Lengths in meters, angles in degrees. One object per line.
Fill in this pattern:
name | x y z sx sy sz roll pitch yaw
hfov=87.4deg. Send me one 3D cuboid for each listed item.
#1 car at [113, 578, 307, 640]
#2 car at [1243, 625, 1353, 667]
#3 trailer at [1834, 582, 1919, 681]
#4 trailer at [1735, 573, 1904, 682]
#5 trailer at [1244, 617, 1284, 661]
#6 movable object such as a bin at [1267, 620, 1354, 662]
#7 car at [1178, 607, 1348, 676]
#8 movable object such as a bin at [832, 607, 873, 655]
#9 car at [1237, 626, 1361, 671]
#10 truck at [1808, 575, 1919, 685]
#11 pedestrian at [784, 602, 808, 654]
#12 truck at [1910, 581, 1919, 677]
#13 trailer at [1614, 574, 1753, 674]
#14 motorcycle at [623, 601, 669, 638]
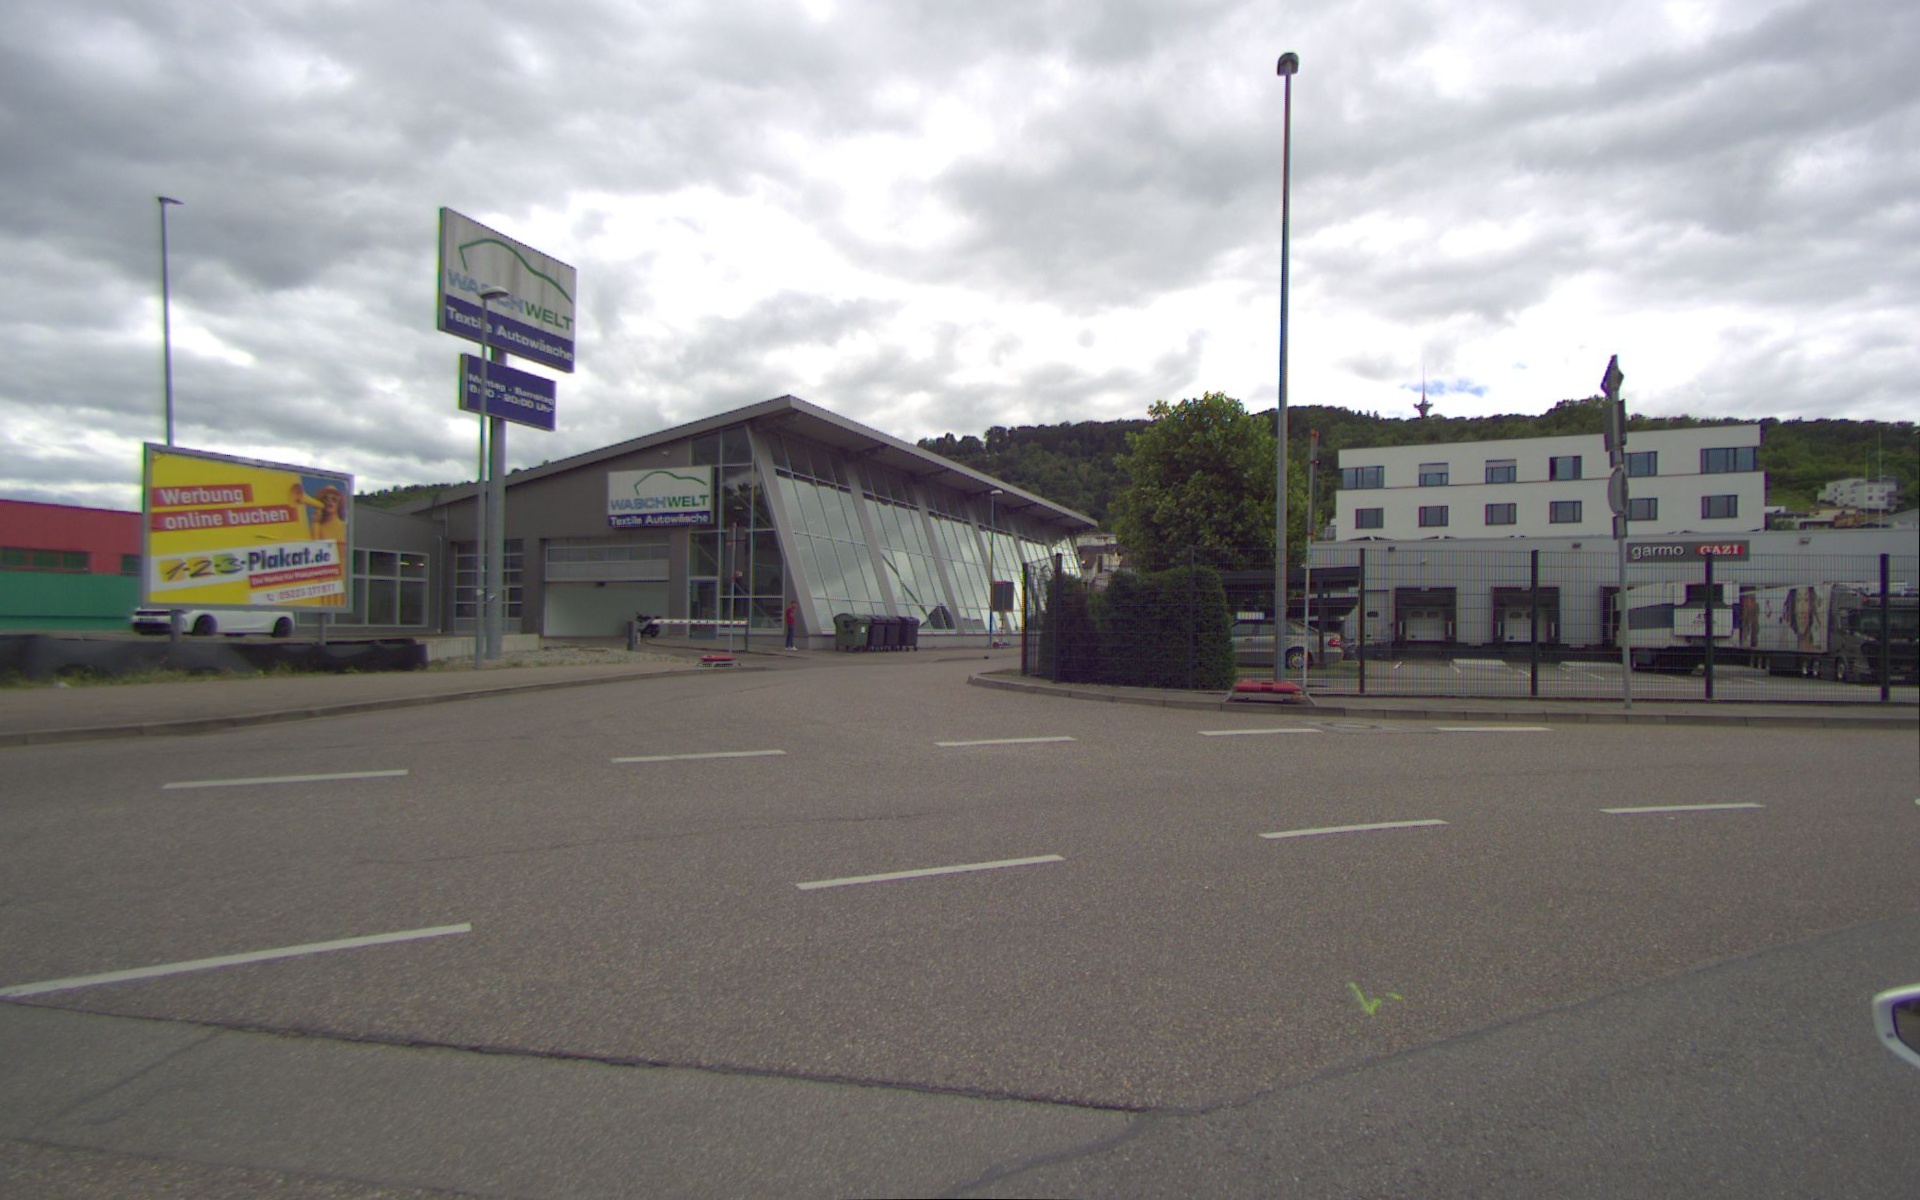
car | -20.350 0.290 27.493 1.959 1.555 4.003 1 -2 8
car | 13.714 1.856 40.875 4.163 1.579 1.968 0 -2 19
trailer | 42.370 1.455 44.189 2.739 4.131 10.991 0 -2 24
trailer | 38.816 1.338 45.925 2.739 4.357 11.177 0 -2 24
trailer | 27.295 3.467 90.017 3.018 3.809 4.933 1 -1 22
movable object such as a bin | 19.630 2.273 56.343 4.509 2.255 2.082 0 -2 19
car | 8.038 1.086 26.716 4.163 1.692 2.075 0 -2 19
movable object such as a bin | -4.057 1.172 37.958 1.124 1.780 1.058 0 -2 24
car | 12.340 1.755 36.682 4.163 1.512 1.968 0 -2 19
truck | 36.103 1.211 39.811 2.749 4.093 4.163 0 -2 24
pedestrian | -6.034 1.019 36.945 0.814 1.892 0.716 0 -2 -13
truck | 40.131 1.128 39.115 2.749 3.980 5.922 0 -2 24
trailer | 33.951 1.232 47.684 3.032 4.131 11.405 0 -2 24
motorcycle | -15.126 0.944 48.432 0.826 1.732 2.364 0 -2 20
